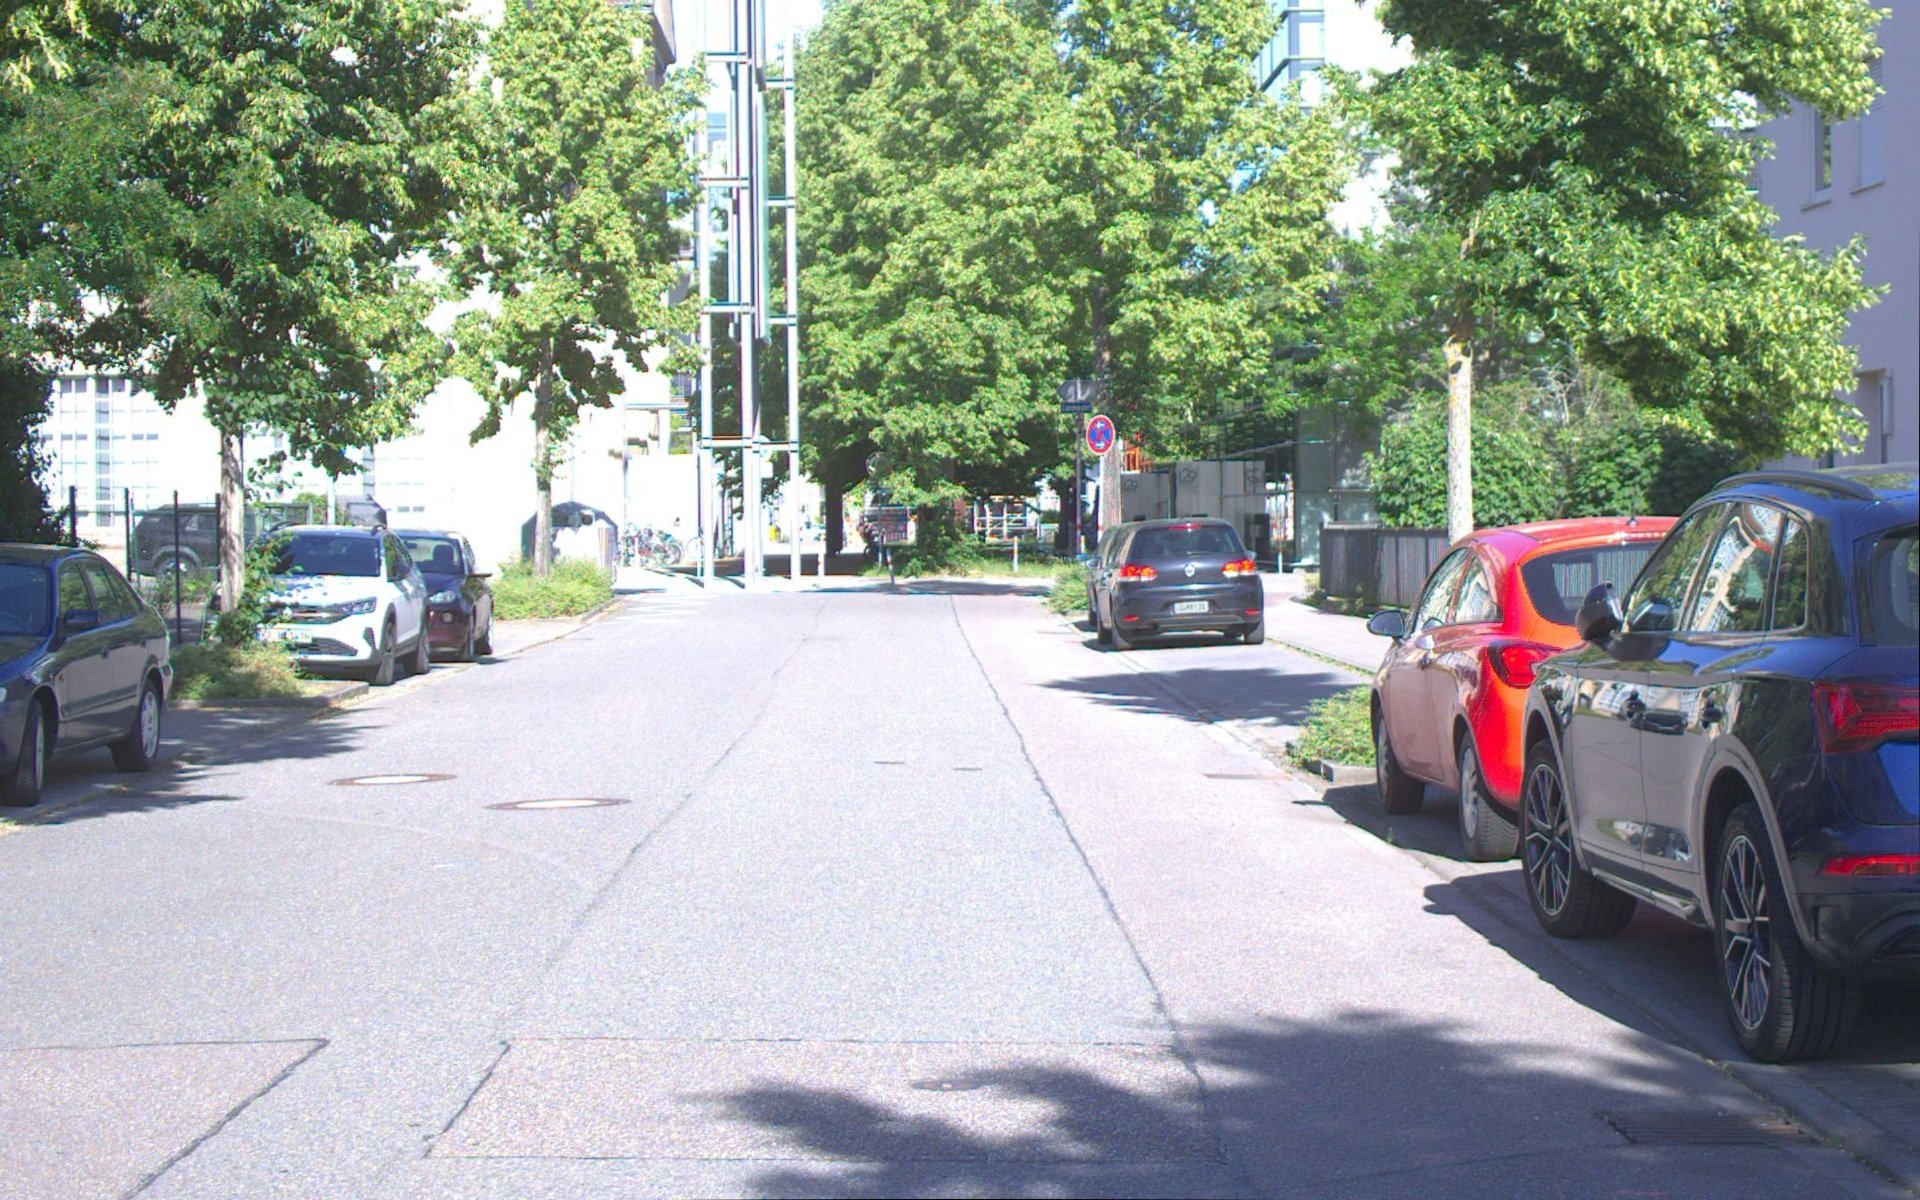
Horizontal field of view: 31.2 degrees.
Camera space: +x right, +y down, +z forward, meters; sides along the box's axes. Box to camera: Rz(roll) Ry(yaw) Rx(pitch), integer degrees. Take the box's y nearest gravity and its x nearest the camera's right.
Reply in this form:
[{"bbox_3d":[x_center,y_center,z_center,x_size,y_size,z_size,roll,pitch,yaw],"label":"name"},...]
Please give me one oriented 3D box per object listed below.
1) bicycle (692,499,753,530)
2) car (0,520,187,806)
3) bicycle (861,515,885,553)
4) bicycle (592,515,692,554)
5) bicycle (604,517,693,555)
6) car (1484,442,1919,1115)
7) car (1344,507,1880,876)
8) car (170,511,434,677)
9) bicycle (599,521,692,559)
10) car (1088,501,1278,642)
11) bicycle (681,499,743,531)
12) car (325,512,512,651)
[{"bbox_3d":[-8.167,-2.945,118.211,2.058,1.062,0.506,0,2,1],"label":"bicycle"},{"bbox_3d":[-5.933,0.277,20.234,1.840,1.469,4.360,1,1,-1],"label":"car"},{"bbox_3d":[-2.826,-2.161,111.586,0.619,1.193,2.132,-1,2,-6],"label":"bicycle"},{"bbox_3d":[-9.051,-1.869,97.943,2.800,1.059,0.719,-1,2,-5],"label":"bicycle"},{"bbox_3d":[-9.622,-1.987,106.167,2.731,1.146,0.719,-1,2,-5],"label":"bicycle"},{"bbox_3d":[2.978,0.363,10.842,1.900,1.677,4.411,-2,1,0],"label":"car"},{"bbox_3d":[2.955,0.333,16.359,1.675,1.499,3.847,-2,2,-2],"label":"car"},{"bbox_3d":[-6.297,-0.104,33.323,1.840,1.469,4.002,1,1,-1],"label":"car"},{"bbox_3d":[-9.581,-1.827,104.778,2.800,1.147,0.719,-1,1,-5],"label":"bicycle"},{"bbox_3d":[2.556,-0.379,40.268,1.783,1.510,4.001,-1,2,-2],"label":"car"},{"bbox_3d":[-8.477,-2.906,117.488,2.058,1.062,0.506,0,2,1],"label":"bicycle"},{"bbox_3d":[-6.126,-0.246,39.214,1.717,1.469,3.547,1,1,-3],"label":"car"}]
